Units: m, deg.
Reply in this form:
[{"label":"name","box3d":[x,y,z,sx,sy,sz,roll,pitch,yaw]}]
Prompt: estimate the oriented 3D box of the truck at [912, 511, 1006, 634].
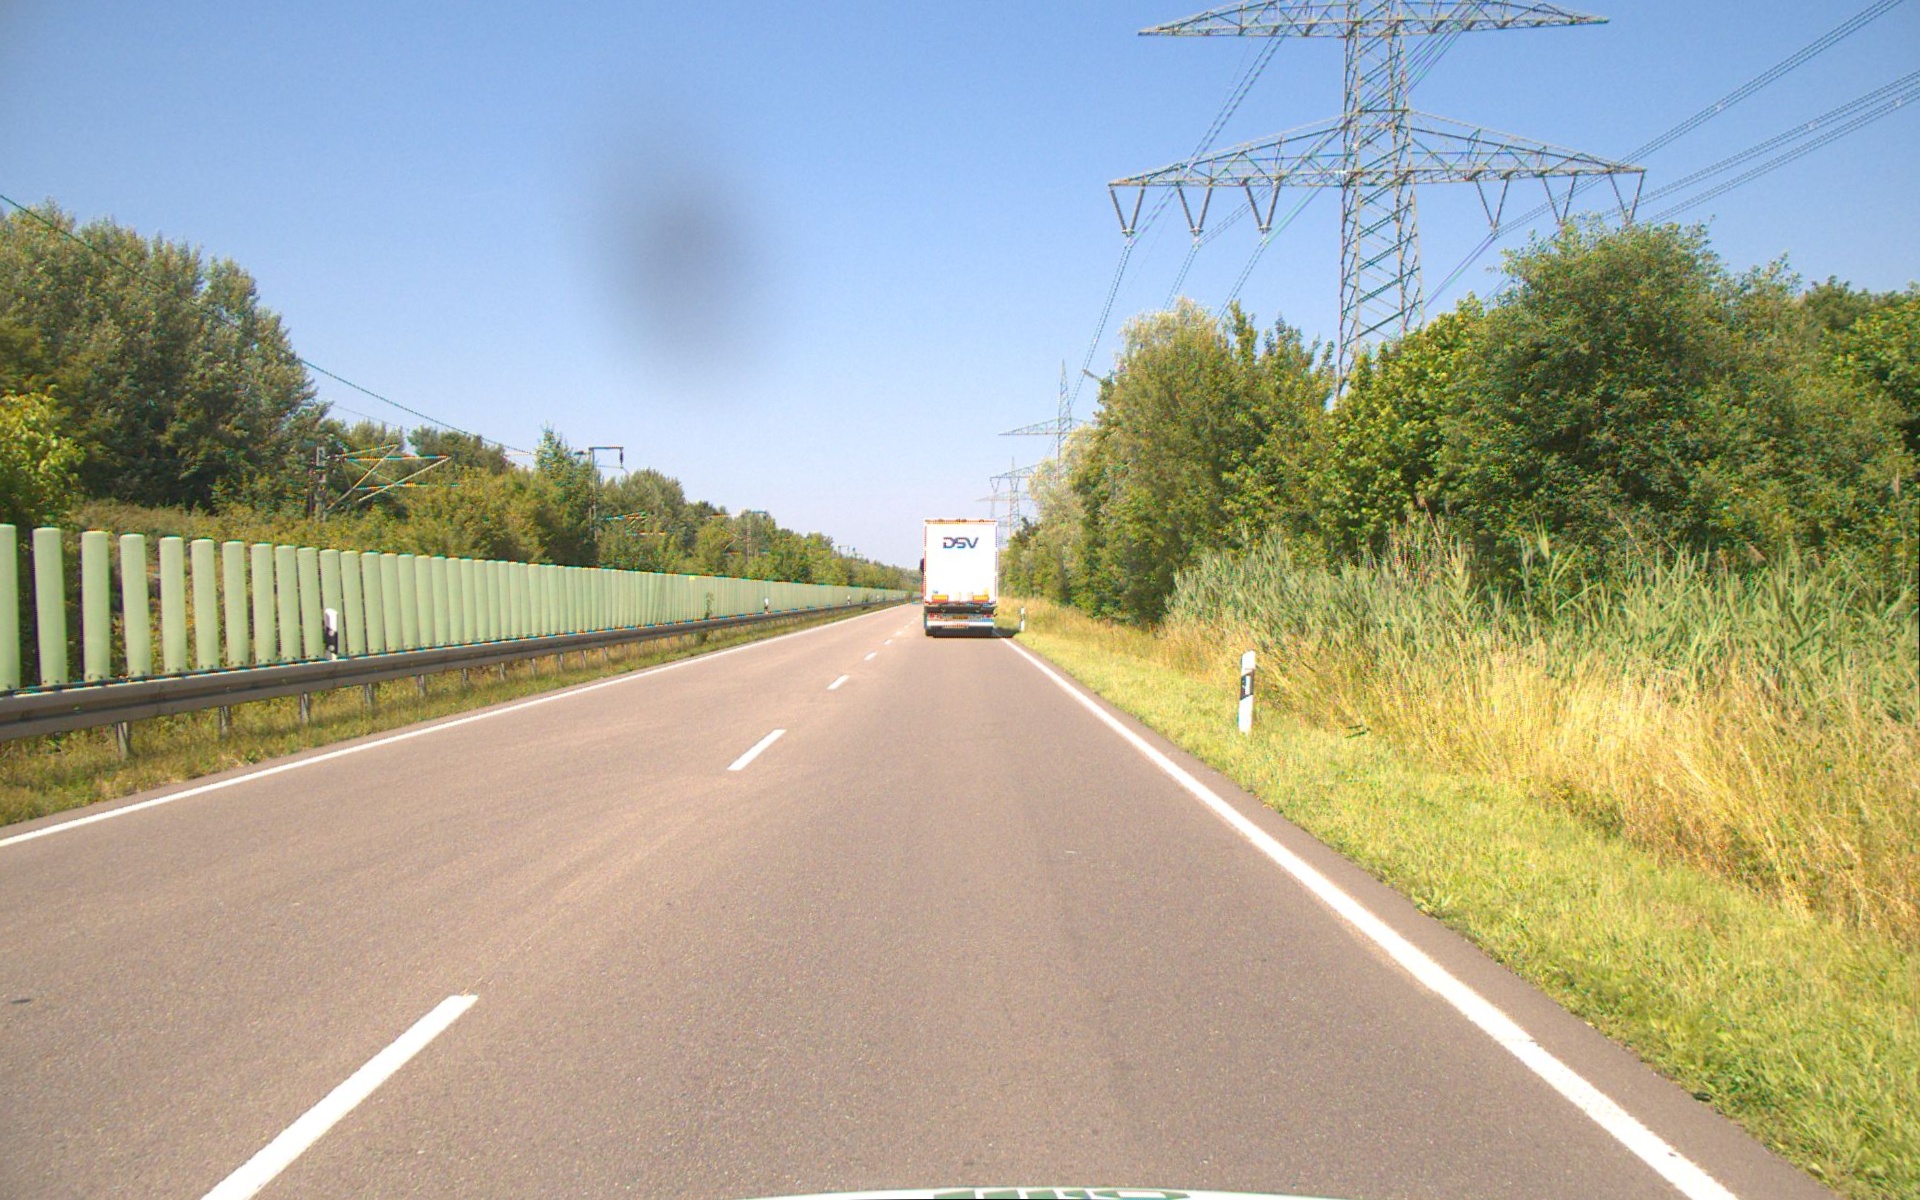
[{"label":"truck","box3d":[-0.135,-0.959,61.616,3.127,4.113,12.004,0,0,-1]}]
